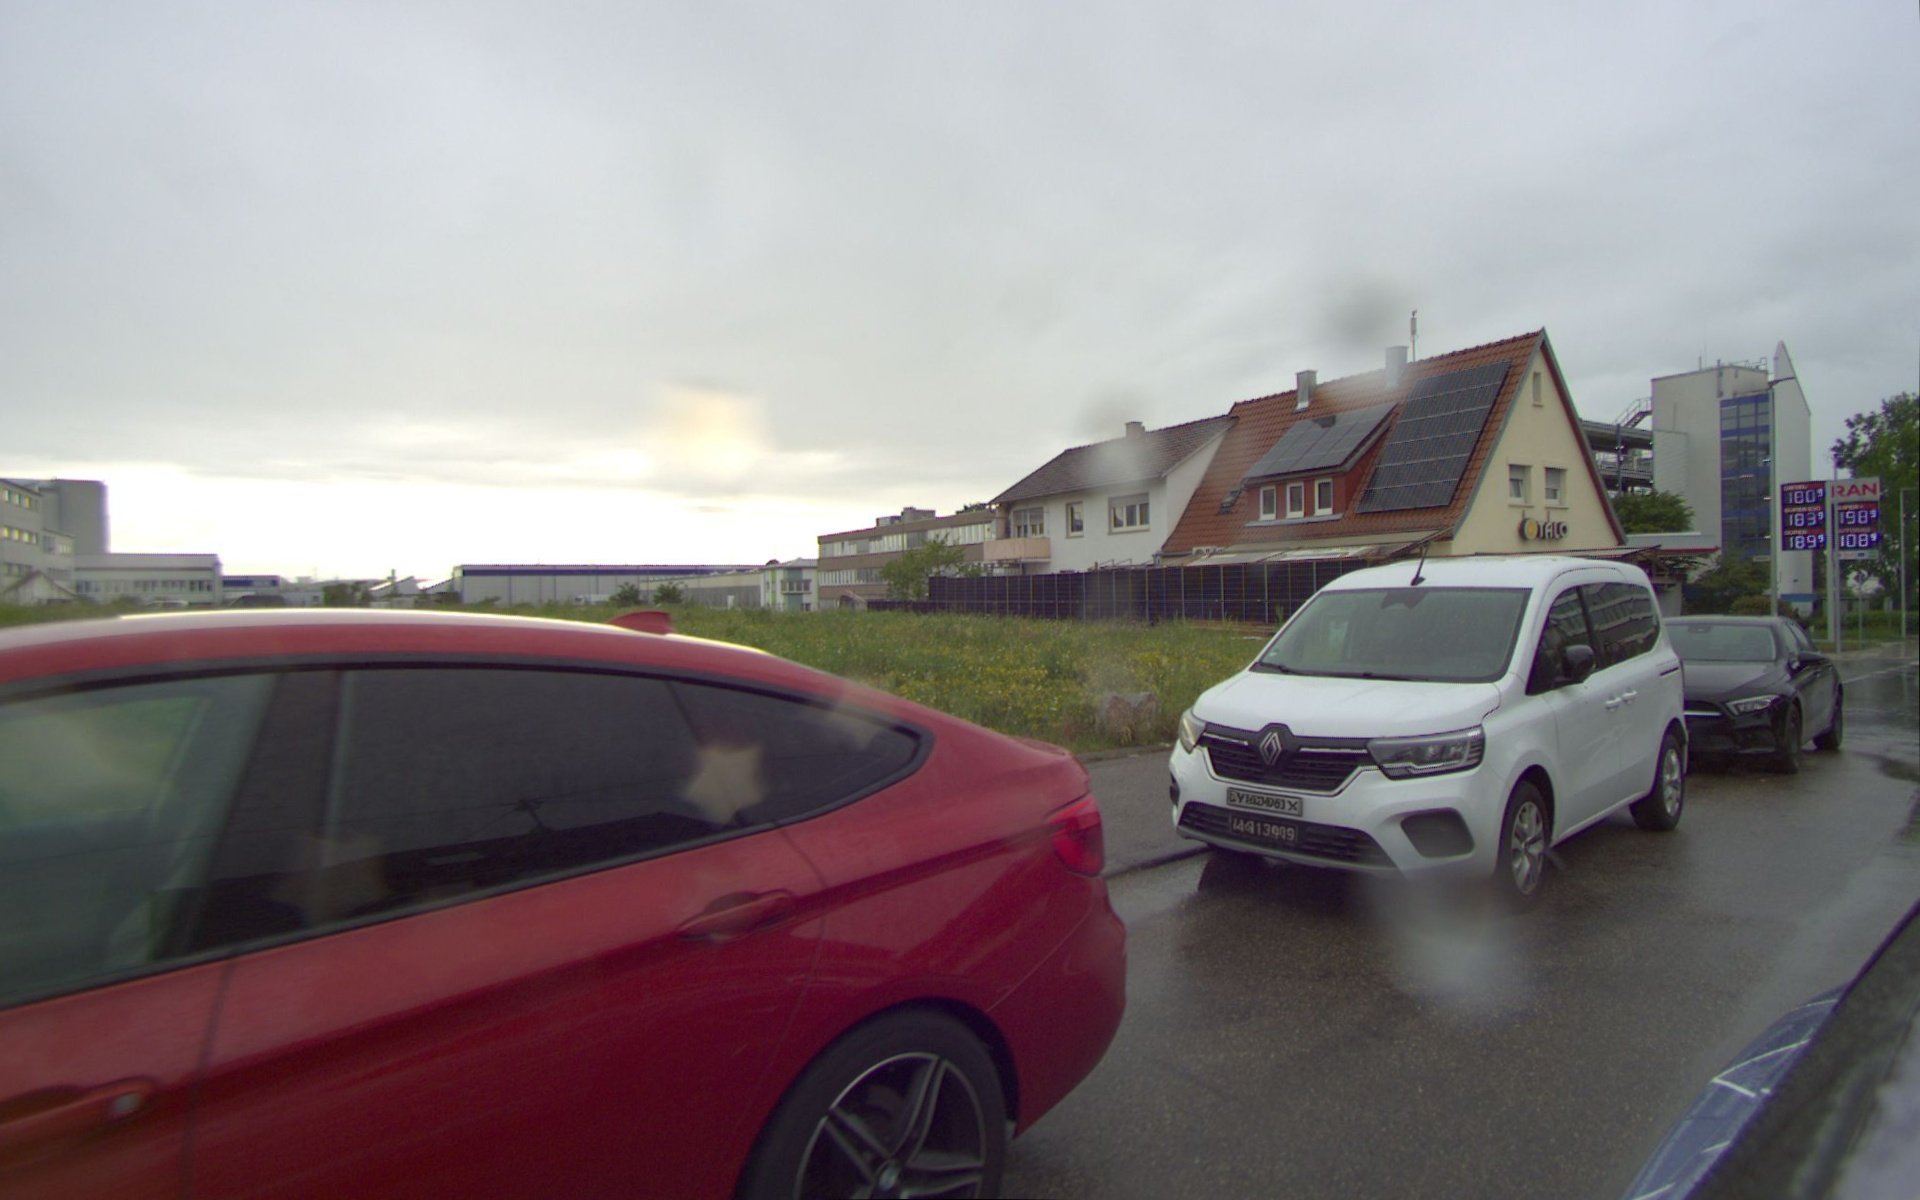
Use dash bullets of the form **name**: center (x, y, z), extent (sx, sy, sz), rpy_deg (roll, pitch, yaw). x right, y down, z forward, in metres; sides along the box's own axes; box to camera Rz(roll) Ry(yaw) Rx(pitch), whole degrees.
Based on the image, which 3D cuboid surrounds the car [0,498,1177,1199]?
- **car**: center (-1.719, 0.692, 1.785), extent (4.561, 1.595, 1.645), rpy_deg (0, -1, -40)

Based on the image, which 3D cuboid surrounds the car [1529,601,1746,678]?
- **car**: center (17.002, 0.921, 25.545), extent (1.829, 1.630, 4.222), rpy_deg (-1, 2, -42)

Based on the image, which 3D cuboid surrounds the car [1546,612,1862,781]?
- **car**: center (7.782, 0.828, 10.425), extent (4.246, 1.353, 1.771), rpy_deg (0, -1, -42)

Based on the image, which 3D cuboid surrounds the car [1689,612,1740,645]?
- **car**: center (34.465, 1.265, 46.189), extent (1.686, 1.357, 4.278), rpy_deg (-1, 0, 39)

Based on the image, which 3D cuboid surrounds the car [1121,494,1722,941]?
- **car**: center (3.150, 0.496, 6.375), extent (4.495, 1.848, 1.771), rpy_deg (0, -1, -42)
